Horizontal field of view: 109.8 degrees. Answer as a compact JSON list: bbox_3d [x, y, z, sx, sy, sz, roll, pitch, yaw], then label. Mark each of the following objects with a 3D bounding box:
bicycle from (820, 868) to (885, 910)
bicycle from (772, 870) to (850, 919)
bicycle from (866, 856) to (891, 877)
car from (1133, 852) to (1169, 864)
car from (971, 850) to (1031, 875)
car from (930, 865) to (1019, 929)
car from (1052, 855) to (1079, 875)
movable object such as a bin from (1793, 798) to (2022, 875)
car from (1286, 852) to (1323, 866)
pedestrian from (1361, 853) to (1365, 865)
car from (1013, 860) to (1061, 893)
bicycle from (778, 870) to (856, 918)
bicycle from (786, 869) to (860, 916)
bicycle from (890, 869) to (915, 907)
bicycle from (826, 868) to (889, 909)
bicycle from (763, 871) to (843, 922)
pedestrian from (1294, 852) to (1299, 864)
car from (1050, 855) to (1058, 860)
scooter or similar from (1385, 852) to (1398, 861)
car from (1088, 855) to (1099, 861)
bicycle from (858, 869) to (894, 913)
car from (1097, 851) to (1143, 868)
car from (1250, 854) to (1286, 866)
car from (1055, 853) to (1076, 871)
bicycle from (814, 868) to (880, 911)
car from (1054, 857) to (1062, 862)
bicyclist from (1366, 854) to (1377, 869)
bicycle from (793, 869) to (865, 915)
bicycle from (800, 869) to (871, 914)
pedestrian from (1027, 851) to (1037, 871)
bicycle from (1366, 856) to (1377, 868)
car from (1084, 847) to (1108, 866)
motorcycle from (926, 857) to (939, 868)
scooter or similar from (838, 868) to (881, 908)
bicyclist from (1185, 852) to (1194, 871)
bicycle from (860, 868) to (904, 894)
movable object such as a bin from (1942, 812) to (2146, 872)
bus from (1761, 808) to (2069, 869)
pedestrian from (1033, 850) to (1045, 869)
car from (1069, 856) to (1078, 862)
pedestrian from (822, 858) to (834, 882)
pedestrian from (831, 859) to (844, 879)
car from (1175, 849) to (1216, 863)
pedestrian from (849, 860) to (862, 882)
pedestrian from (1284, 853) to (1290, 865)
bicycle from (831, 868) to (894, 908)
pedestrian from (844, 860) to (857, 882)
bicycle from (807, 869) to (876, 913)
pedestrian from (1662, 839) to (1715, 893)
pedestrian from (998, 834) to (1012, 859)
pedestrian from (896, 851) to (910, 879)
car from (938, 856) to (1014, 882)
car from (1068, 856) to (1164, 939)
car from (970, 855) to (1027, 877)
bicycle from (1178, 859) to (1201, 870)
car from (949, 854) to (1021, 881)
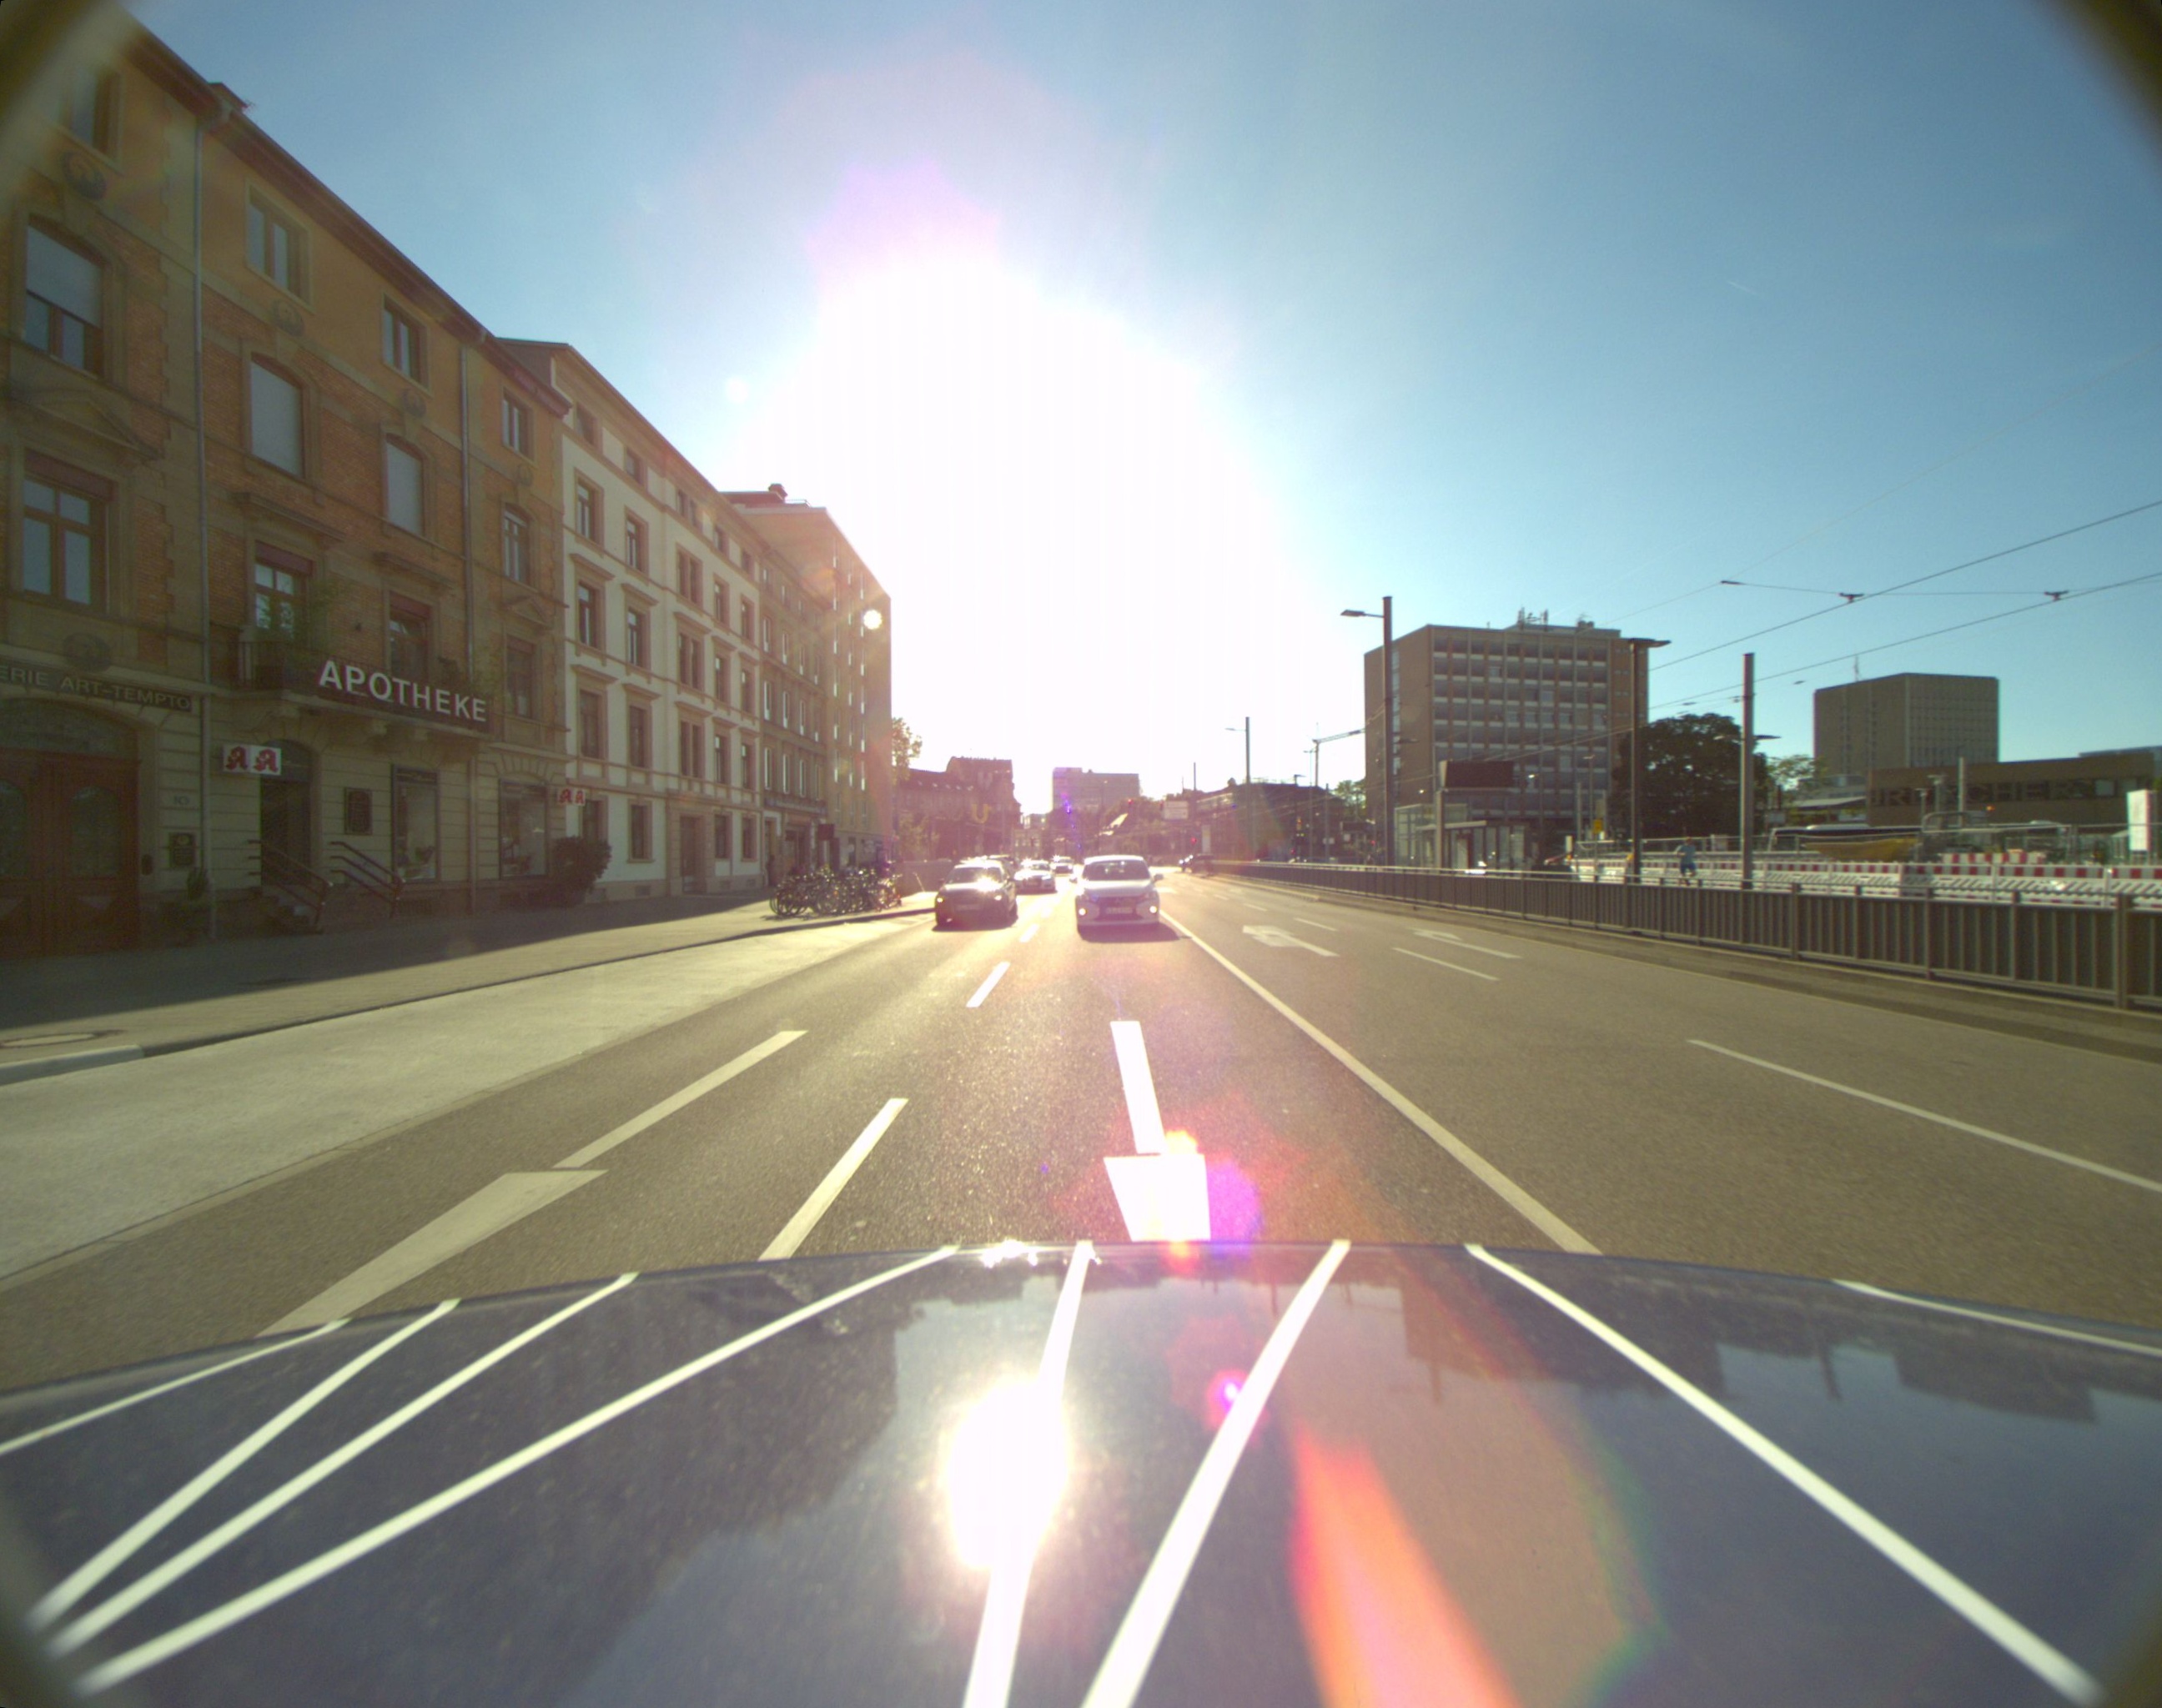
[{"bbox_3d":[-6.773,1.035,22.571,1.769,1.180,0.470,-1,0,1],"label":"bicycle"},{"bbox_3d":[-6.751,1.005,19.040,1.769,1.180,0.470,-1,0,1],"label":"bicycle"},{"bbox_3d":[-13.955,0.888,52.469,0.932,1.348,2.231,0,-2,4],"label":"bicycle"},{"bbox_3d":[9.971,0.615,108.711,4.695,1.673,2.004,-1,-3,25],"label":"car"},{"bbox_3d":[-6.238,0.647,59.662,4.259,1.803,1.955,-2,0,-40],"label":"car"},{"bbox_3d":[-2.545,0.994,19.008,1.694,1.380,3.832,-2,-1,-1],"label":"car"},{"bbox_3d":[-1.205,0.854,60.573,1.783,1.455,3.916,0,1,3],"label":"car"},{"bbox_3d":[30.839,-0.508,28.630,2.637,2.510,5.164,1,-3,-17],"label":"movable object such as a bin"},{"bbox_3d":[29.853,0.667,101.473,4.698,1.673,2.003,0,-2,16],"label":"car"},{"bbox_3d":[39.014,0.721,105.159,0.503,1.625,0.428,0,-2,8],"label":"pedestrian"},{"bbox_3d":[-1.976,1.018,35.272,1.825,1.380,4.458,-1,-1,1],"label":"car"},{"bbox_3d":[-6.780,1.023,19.543,1.796,1.180,0.470,-1,0,1],"label":"bicycle"},{"bbox_3d":[-6.792,1.002,20.034,1.769,1.180,0.470,-1,0,1],"label":"bicycle"},{"bbox_3d":[-5.621,1.033,23.814,0.470,1.140,1.768,-1,-1,-22],"label":"bicycle"},{"bbox_3d":[-6.778,1.036,23.069,1.769,1.171,0.470,-1,0,1],"label":"bicycle"},{"bbox_3d":[-6.776,1.023,18.545,1.769,1.180,0.470,-1,0,1],"label":"bicycle"},{"bbox_3d":[31.959,0.601,112.775,0.732,1.730,0.622,0,2,12],"label":"pedestrian"},{"bbox_3d":[-8.889,1.232,248.125,1.757,1.455,4.016,-1,-2,-12],"label":"car"},{"bbox_3d":[45.525,0.374,111.511,0.801,1.239,1.705,1,-3,-27],"label":"scooter or similar"},{"bbox_3d":[3.108,1.069,191.168,1.757,1.455,4.016,-1,-2,-12],"label":"car"},{"bbox_3d":[-5.665,1.009,21.100,0.470,1.140,1.771,-1,-1,1],"label":"bicycle"},{"bbox_3d":[5.161,0.732,100.071,5.769,2.001,1.998,1,-2,-15],"label":"car"},{"bbox_3d":[26.128,0.856,106.128,4.697,1.673,2.004,0,-2,19],"label":"car"},{"bbox_3d":[-1.534,0.794,76.566,1.999,1.673,4.002,0,-2,0],"label":"car"},{"bbox_3d":[-6.787,1.030,22.070,1.769,1.180,0.470,-1,0,1],"label":"bicycle"},{"bbox_3d":[-7.303,1.658,238.994,1.757,1.455,4.016,-1,-2,-12],"label":"car"},{"bbox_3d":[28.752,0.774,75.154,0.814,1.337,0.903,-7,0,23],"label":"bicyclist"},{"bbox_3d":[-6.801,1.026,20.541,1.769,1.180,0.470,-1,0,1],"label":"bicycle"},{"bbox_3d":[-6.793,1.035,21.044,1.769,1.180,0.470,-1,0,1],"label":"bicycle"},{"bbox_3d":[-4.258,0.631,65.890,0.698,1.718,0.752,-1,1,-15],"label":"pedestrian"},{"bbox_3d":[28.759,0.774,75.156,0.814,0.936,2.004,-7,0,23],"label":"bicycle"},{"bbox_3d":[1.330,0.196,67.866,1.999,1.666,4.282,-1,0,-1],"label":"car"},{"bbox_3d":[-14.284,0.815,73.084,0.880,1.040,1.803,0,1,-1],"label":"motorcycle"},{"bbox_3d":[-7.103,1.068,24.347,1.210,1.209,0.641,-2,2,-26],"label":"scooter or similar"},{"bbox_3d":[9.560,0.672,66.970,0.676,1.607,0.815,1,1,-4],"label":"bicyclist"},{"bbox_3d":[-8.571,1.162,32.736,1.773,1.083,0.469,2,-2,-28],"label":"bicycle"},{"bbox_3d":[28.699,-0.275,22.848,1.176,1.577,3.866,0,-2,0],"label":"movable object such as a bin"},{"bbox_3d":[50.950,-0.764,47.341,12.626,3.174,2.848,-2,-3,44],"label":"bus"},{"bbox_3d":[-3.799,0.505,69.142,0.796,1.718,0.868,-1,1,-31],"label":"pedestrian"},{"bbox_3d":[-2.047,1.438,215.891,1.757,1.455,4.016,-1,-2,-12],"label":"car"},{"bbox_3d":[-13.863,0.885,41.664,0.516,1.311,0.591,-1,1,-6],"label":"pedestrian"},{"bbox_3d":[-14.319,0.893,44.663,0.516,1.153,0.592,-1,1,8],"label":"pedestrian"},{"bbox_3d":[14.212,0.225,94.284,4.619,1.679,1.998,-1,1,-13],"label":"car"},{"bbox_3d":[-13.413,1.005,45.158,0.516,1.311,0.592,-1,1,8],"label":"pedestrian"},{"bbox_3d":[30.590,0.694,112.686,0.620,1.730,0.667,1,3,43],"label":"pedestrian"},{"bbox_3d":[-6.766,1.057,23.571,1.769,1.171,0.470,-1,0,1],"label":"bicycle"},{"bbox_3d":[-13.522,0.988,44.507,0.516,1.311,0.592,-1,1,8],"label":"pedestrian"},{"bbox_3d":[-6.790,1.040,21.563,1.769,1.180,0.470,-1,0,1],"label":"bicycle"},{"bbox_3d":[20.302,0.425,25.407,0.804,1.757,1.180,0,-2,1],"label":"pedestrian"},{"bbox_3d":[-5.811,-0.566,58.061,0.755,1.855,0.696,-1,1,-41],"label":"pedestrian"},{"bbox_3d":[-12.159,0.746,51.911,0.754,1.855,0.830,-1,1,-29],"label":"pedestrian"},{"bbox_3d":[-6.344,0.880,45.942,4.121,1.455,1.956,-1,1,-40],"label":"car"},{"bbox_3d":[0.781,0.844,15.975,1.720,1.483,3.872,-2,-1,4],"label":"car"},{"bbox_3d":[-6.111,0.863,56.505,3.900,1.391,1.784,-3,1,-43],"label":"car"},{"bbox_3d":[9.570,0.933,66.977,1.894,0.936,0.815,1,1,-4],"label":"bicycle"},{"bbox_3d":[-6.211,0.858,49.603,4.259,1.561,1.955,-2,0,-43],"label":"car"}]
